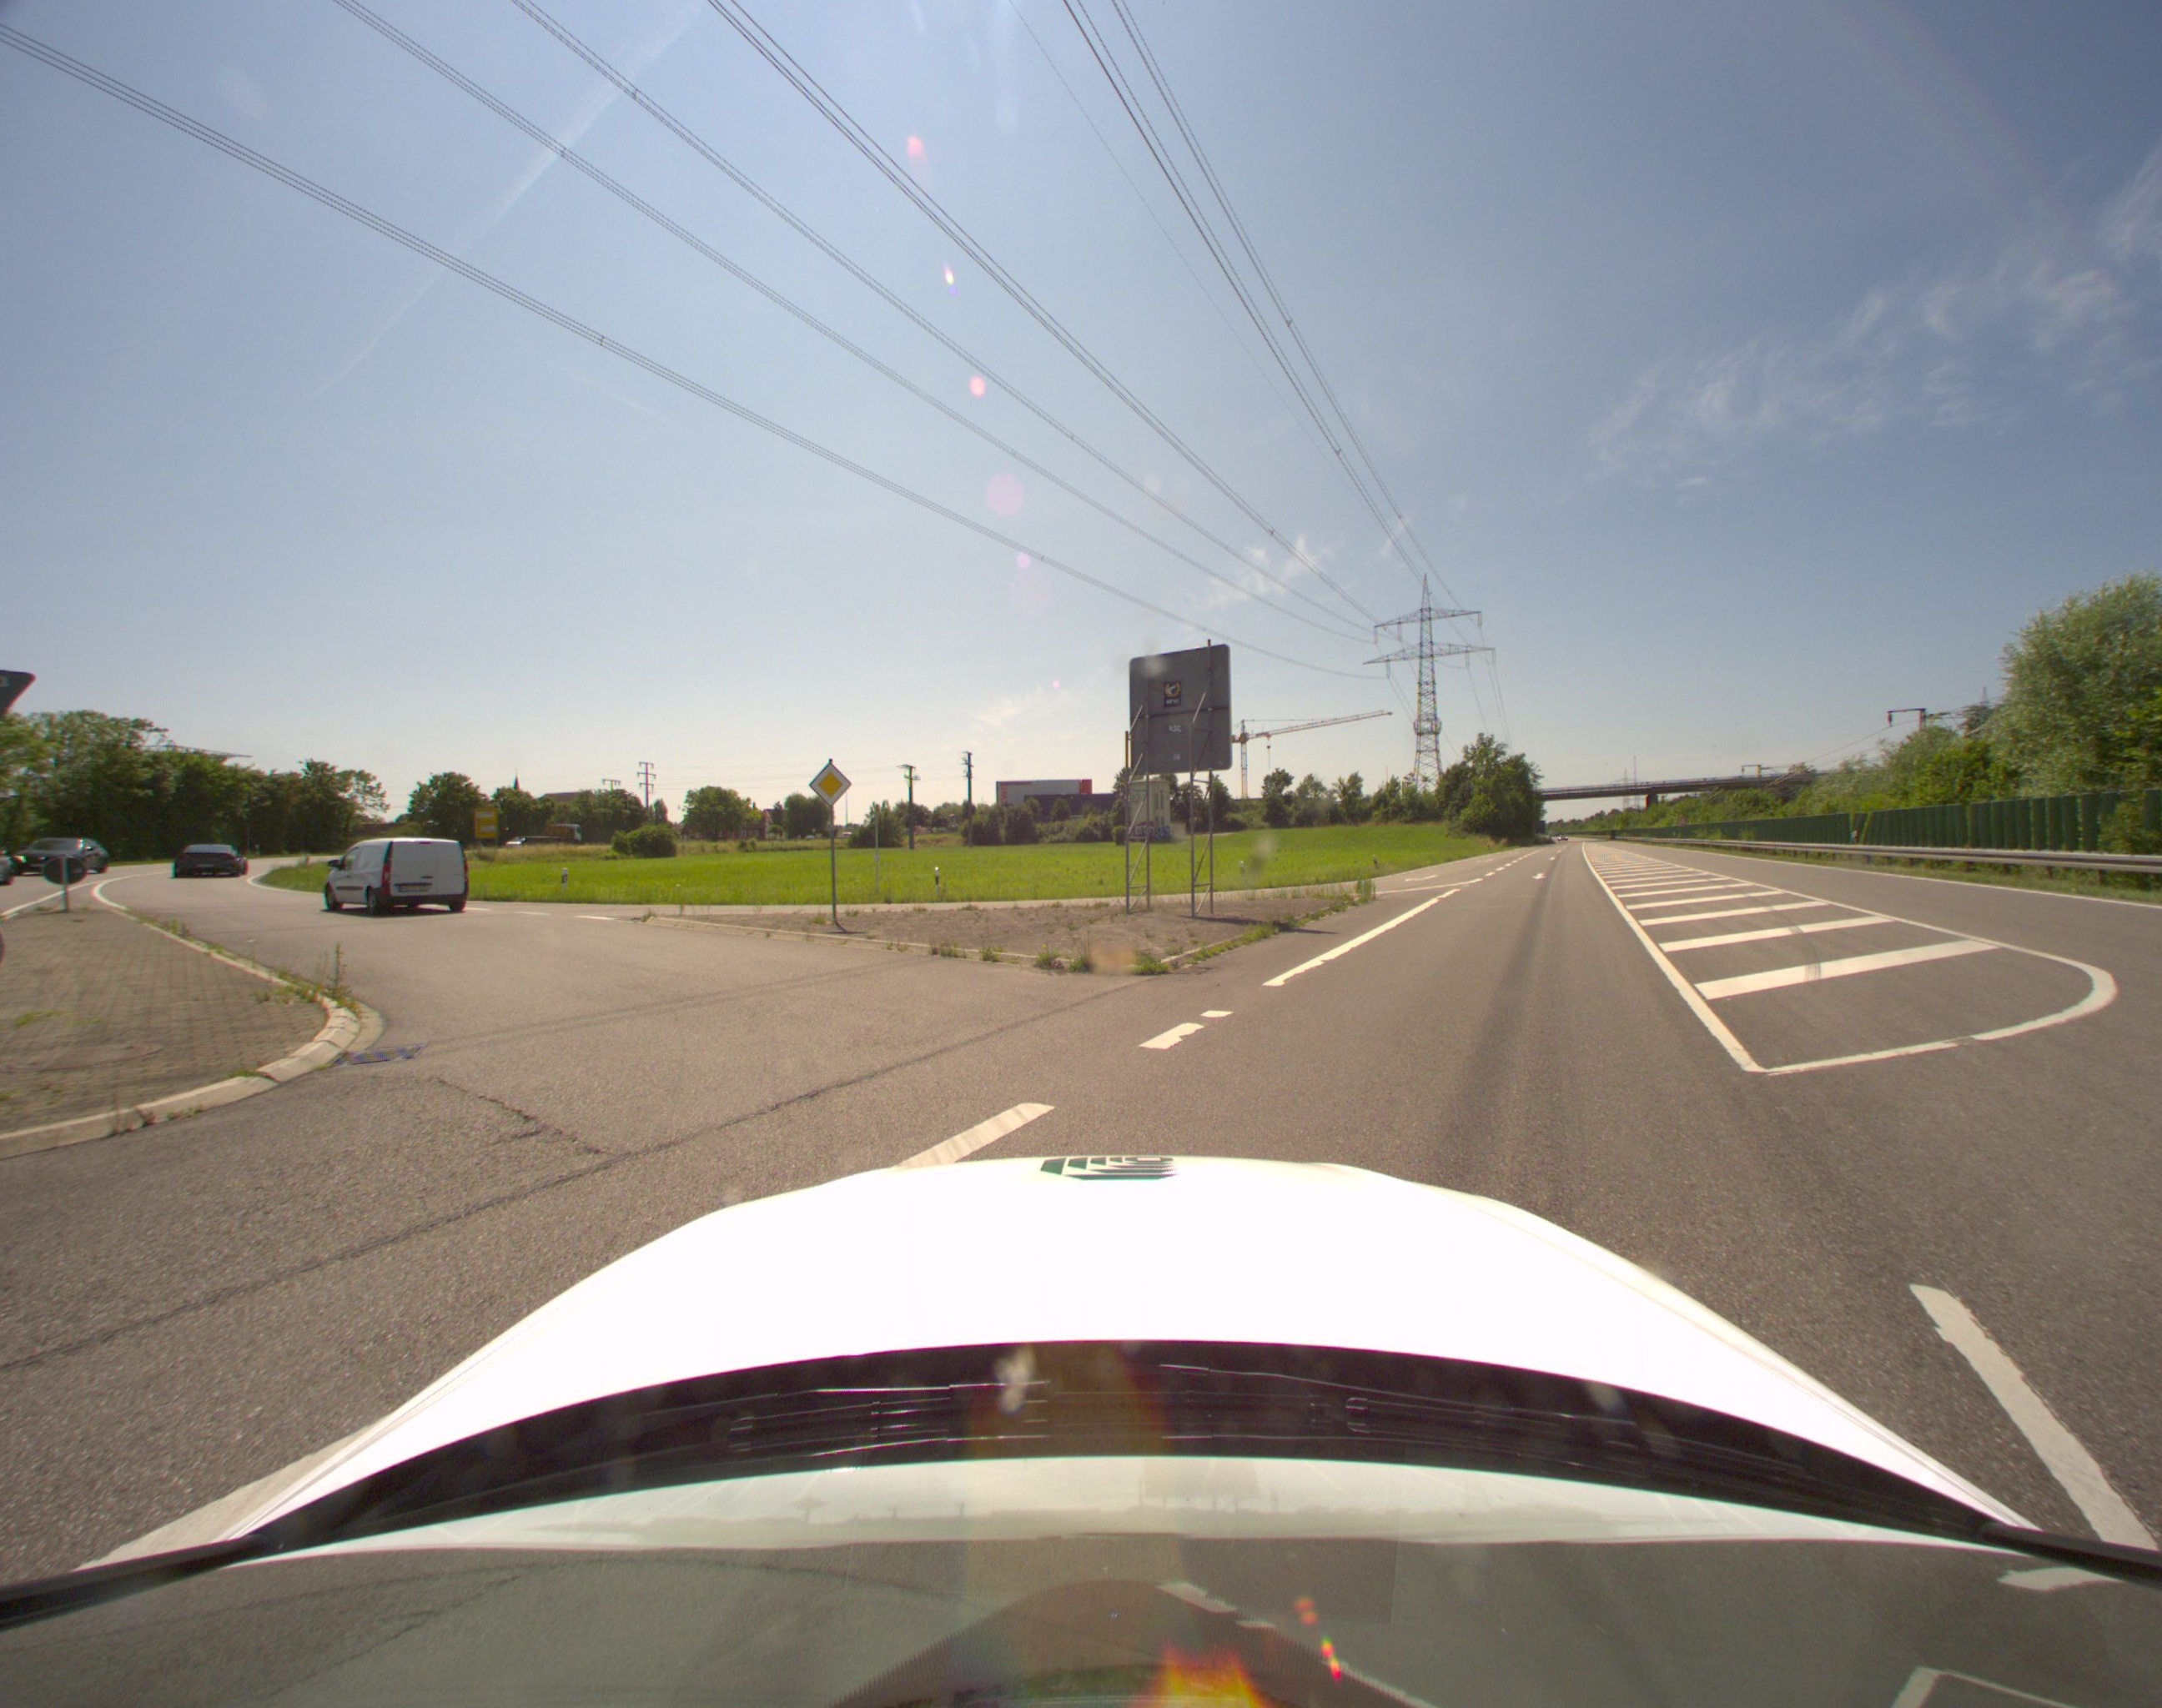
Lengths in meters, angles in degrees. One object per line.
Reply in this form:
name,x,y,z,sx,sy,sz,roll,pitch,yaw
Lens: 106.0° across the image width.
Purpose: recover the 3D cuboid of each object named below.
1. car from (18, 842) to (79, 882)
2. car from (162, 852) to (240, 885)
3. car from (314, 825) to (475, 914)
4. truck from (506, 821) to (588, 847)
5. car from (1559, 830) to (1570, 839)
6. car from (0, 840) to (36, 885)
car,-45.200,0.330,35.705,4.231,1.613,1.553,0,1,39
car,-40.252,0.625,37.218,4.338,1.360,2.107,0,1,39
car,-16.762,0.360,19.845,3.948,1.971,1.844,-1,0,32
truck,-63.654,-2.326,97.429,3.366,2.667,9.207,-2,0,2
car,104.998,-4.254,176.897,1.974,2.013,4.025,-1,1,30
car,-42.132,0.387,31.078,2.011,1.668,3.952,-2,1,-41
